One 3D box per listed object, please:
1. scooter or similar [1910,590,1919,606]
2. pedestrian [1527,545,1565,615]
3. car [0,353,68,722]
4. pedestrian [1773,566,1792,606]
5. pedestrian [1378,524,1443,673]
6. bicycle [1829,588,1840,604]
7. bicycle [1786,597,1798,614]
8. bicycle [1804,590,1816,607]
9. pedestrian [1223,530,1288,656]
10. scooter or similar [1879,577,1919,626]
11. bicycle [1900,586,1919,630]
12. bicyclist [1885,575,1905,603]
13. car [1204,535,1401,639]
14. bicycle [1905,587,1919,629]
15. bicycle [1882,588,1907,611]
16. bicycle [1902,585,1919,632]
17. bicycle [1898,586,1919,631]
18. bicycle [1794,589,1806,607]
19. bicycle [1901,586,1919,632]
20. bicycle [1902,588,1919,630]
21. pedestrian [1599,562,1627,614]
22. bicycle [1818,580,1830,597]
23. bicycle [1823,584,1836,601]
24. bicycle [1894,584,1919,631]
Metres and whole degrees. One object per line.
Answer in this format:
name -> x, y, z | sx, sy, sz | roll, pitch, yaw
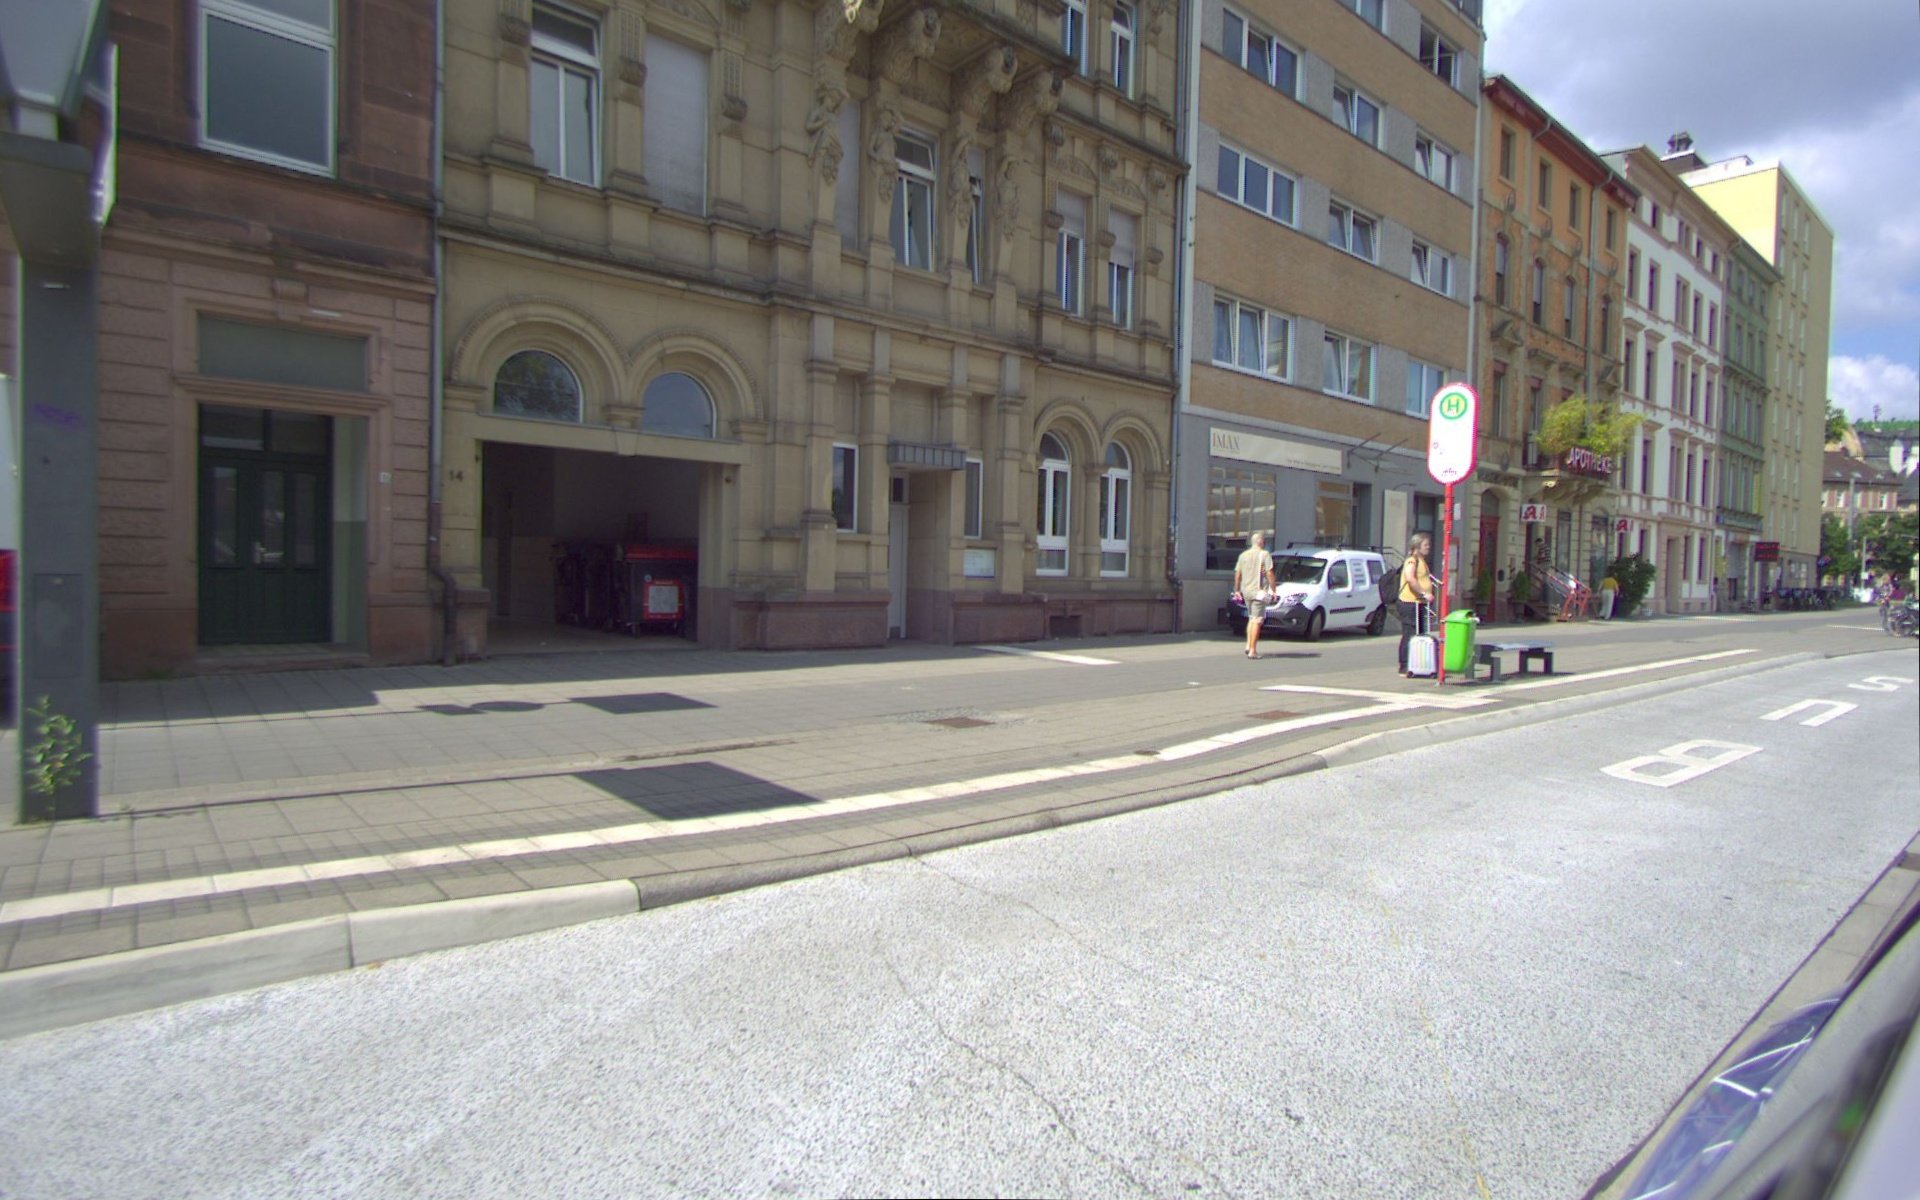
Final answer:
scooter or similar -> 74.180, -0.115, 78.214 | 1.049, 1.211, 0.380 | 3, 0, 14
pedestrian -> 18.191, -0.625, 31.392 | 0.772, 2.126, 0.723 | 3, 0, -40
car -> -9.288, -0.461, 6.107 | 5.784, 2.557, 1.998 | 0, 2, -40
pedestrian -> 42.975, -0.745, 52.871 | 0.452, 2.039, 0.603 | 3, 0, -40
pedestrian -> 6.015, -0.039, 13.501 | 0.660, 1.926, 0.687 | 2, 2, 32
bicycle -> 52.806, -0.243, 61.112 | 1.440, 0.894, 0.293 | -1, 3, -43
bicycle -> 45.441, 0.312, 55.283 | 1.439, 0.934, 0.293 | 1, 1, -43
bicycle -> 45.804, -0.079, 54.558 | 1.439, 0.934, 0.293 | 1, 1, -43
pedestrian -> 4.506, -0.119, 15.450 | 0.663, 1.859, 0.684 | 3, 2, 44
scooter or similar -> 31.541, 0.057, 32.912 | 0.684, 1.565, 2.333 | 3, 0, -34
bicycle -> 28.222, 0.274, 28.930 | 1.922, 1.253, 0.435 | 3, 0, 40
bicyclist -> 49.688, -0.600, 53.795 | 0.730, 1.455, 0.655 | 0, 2, -40
car -> 7.090, -0.315, 20.688 | 1.994, 1.885, 4.677 | 3, 3, 44
bicycle -> 29.870, 0.275, 30.528 | 0.433, 1.253, 1.929 | 3, 0, -38
bicycle -> 49.555, -0.030, 53.636 | 2.291, 1.134, 0.663 | 0, 2, -40
bicycle -> 26.761, 0.269, 27.239 | 1.976, 1.253, 0.435 | 3, 0, 39
bicycle -> 27.822, 0.271, 28.559 | 1.922, 1.253, 0.435 | 3, 0, 40
bicycle -> 45.664, -0.111, 55.038 | 1.439, 0.934, 0.293 | 2, 0, -43
bicycle -> 27.469, 0.286, 28.101 | 0.434, 1.253, 1.925 | 3, 0, -45
bicycle -> 29.464, 0.302, 30.168 | 0.433, 1.253, 1.929 | 3, 0, -38
pedestrian -> 22.056, -0.394, 34.189 | 0.601, 1.719, 0.580 | 3, 0, -40
bicycle -> 47.972, -0.635, 56.197 | 1.439, 0.934, 0.293 | 2, 0, -43
bicycle -> 49.321, -0.418, 57.377 | 1.438, 0.934, 0.293 | 0, 2, -40
bicycle -> 26.996, 0.238, 27.811 | 1.924, 1.253, 0.434 | 3, 0, 43
